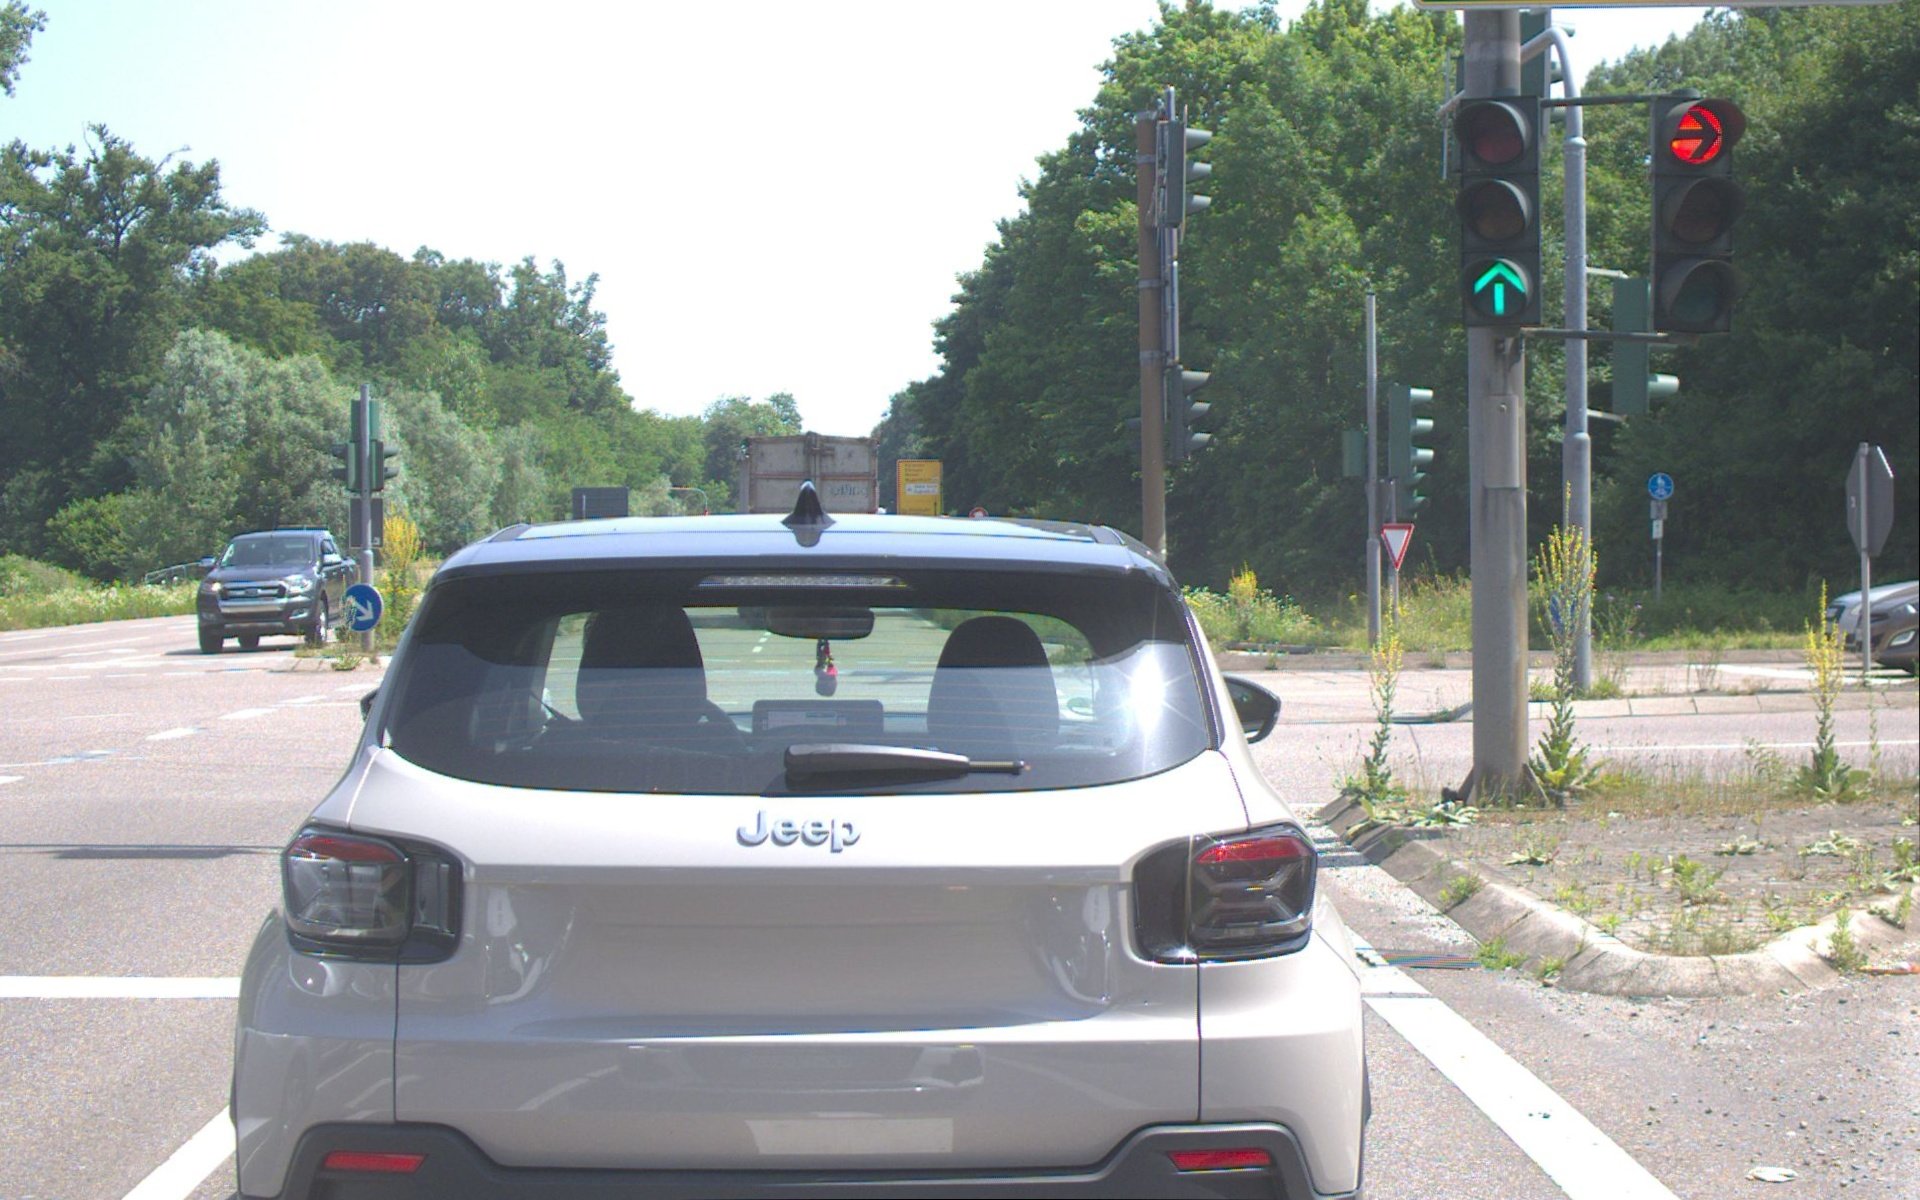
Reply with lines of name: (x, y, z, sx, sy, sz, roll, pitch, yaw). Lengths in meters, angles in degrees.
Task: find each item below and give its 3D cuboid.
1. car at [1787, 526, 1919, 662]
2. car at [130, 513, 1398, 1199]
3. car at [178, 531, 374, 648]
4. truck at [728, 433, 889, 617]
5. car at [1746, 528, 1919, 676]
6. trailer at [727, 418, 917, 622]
car: (12.065, -0.093, 38.837, 4.932, 1.493, 2.020, -1, 0, 0)
car: (-0.297, 0.611, 6.802, 1.767, 1.529, 4.000, 0, 1, -1)
car: (-10.553, -0.204, 53.415, 1.993, 1.672, 5.366, -2, 1, -1)
truck: (-3.537, -1.675, 78.579, 3.332, 3.975, 6.534, 1, 1, -5)
car: (10.360, -0.023, 35.221, 4.091, 1.442, 1.996, -1, 1, -3)
trailer: (-3.082, -1.630, 73.078, 3.382, 3.975, 10.806, 1, 1, -6)
